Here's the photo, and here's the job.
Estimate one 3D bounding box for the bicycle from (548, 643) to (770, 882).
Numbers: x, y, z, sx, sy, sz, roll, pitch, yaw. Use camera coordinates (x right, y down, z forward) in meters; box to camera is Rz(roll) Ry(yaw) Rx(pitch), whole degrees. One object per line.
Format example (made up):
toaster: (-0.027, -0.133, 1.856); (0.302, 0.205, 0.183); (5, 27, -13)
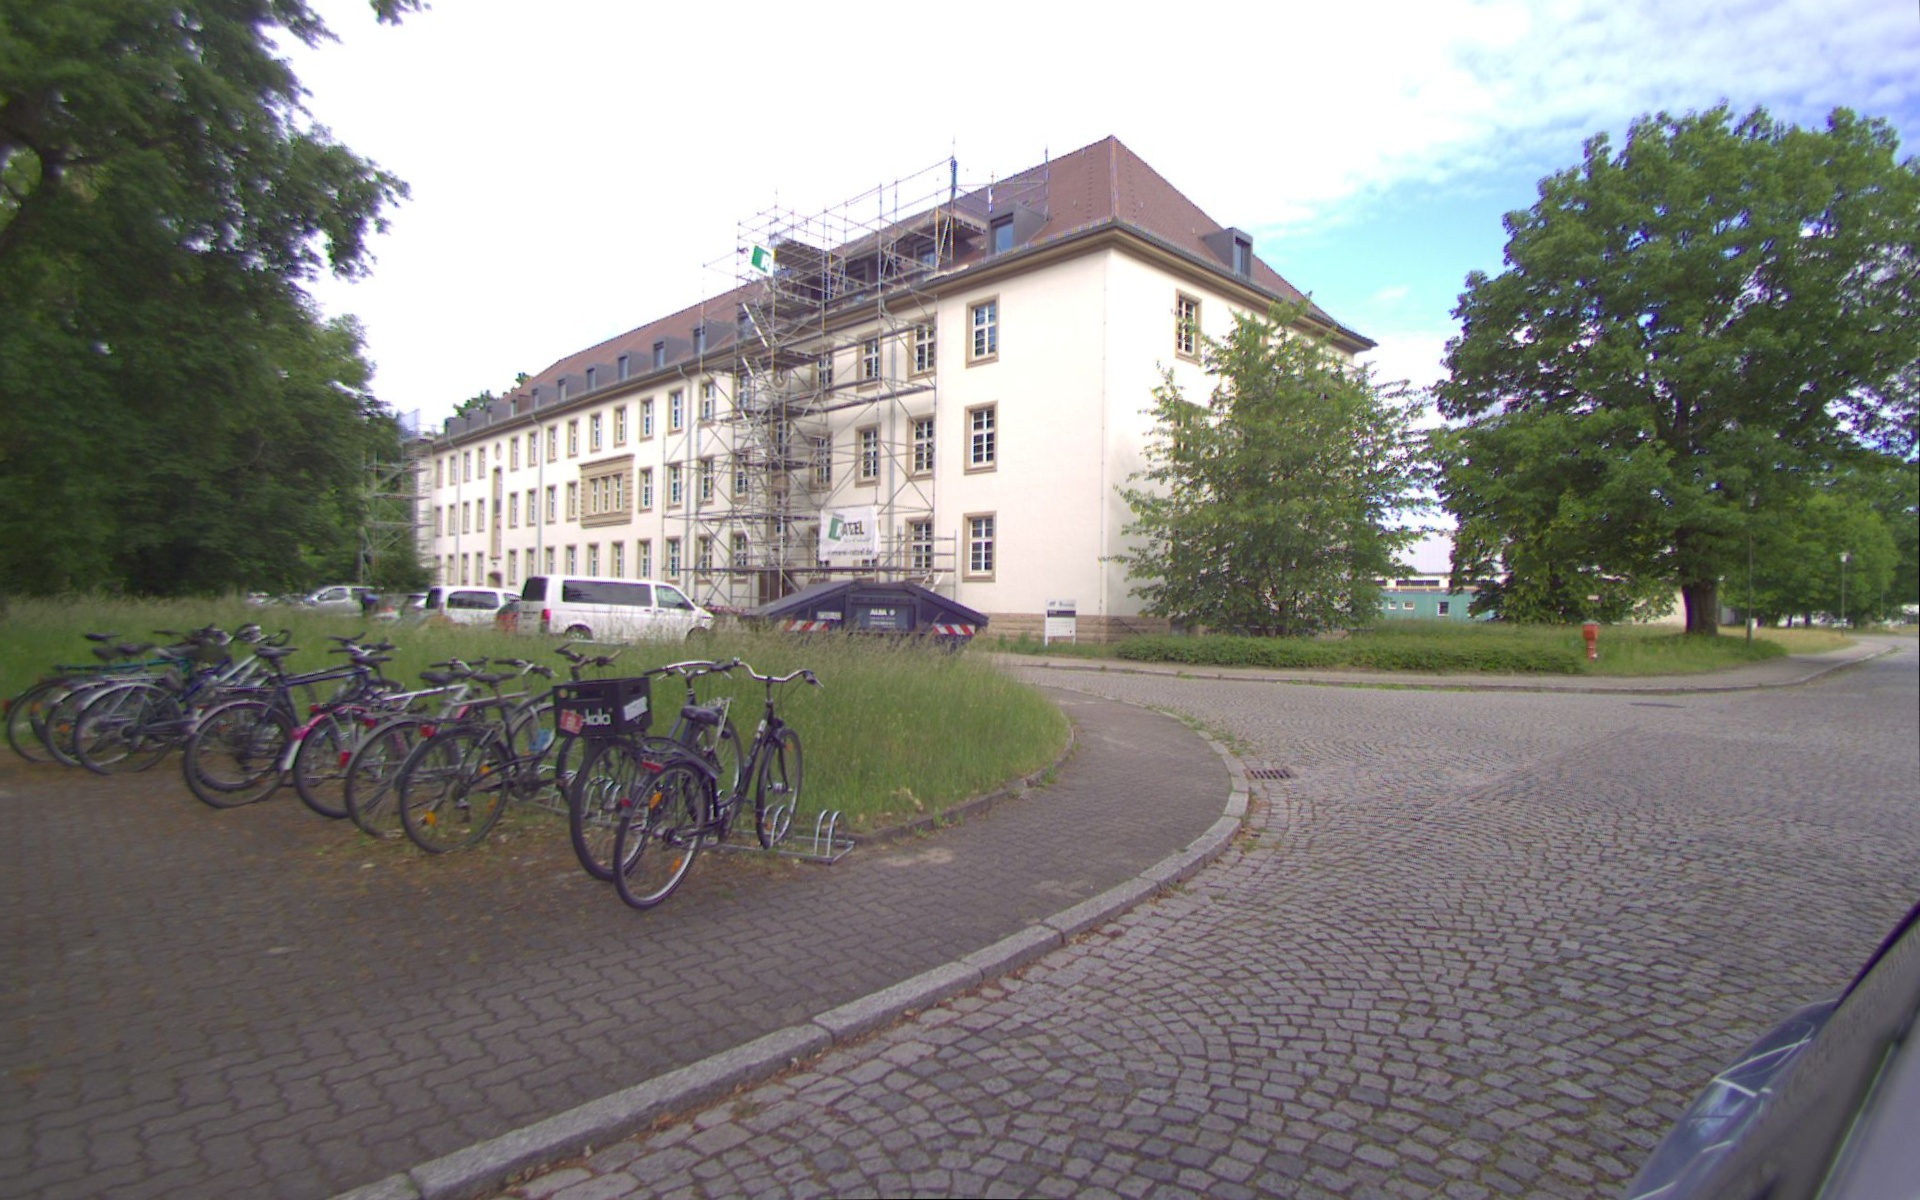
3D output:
bicycle: (-1.661, 0.839, 5.852); (0.471, 1.087, 1.615); (0, 1, 14)

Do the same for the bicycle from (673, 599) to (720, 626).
bicycle: (-11.072, 0.541, 42.580); (1.827, 1.109, 0.510); (1, -1, -38)

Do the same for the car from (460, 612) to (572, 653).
car: (-12.715, 0.894, 29.050); (1.308, 1.098, 2.658); (0, 0, 45)

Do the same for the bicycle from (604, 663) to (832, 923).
bicycle: (-1.190, 0.907, 5.323); (0.471, 1.020, 1.615); (0, 1, 14)

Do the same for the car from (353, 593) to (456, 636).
car: (-21.345, 0.550, 38.944); (1.380, 1.585, 3.196); (0, -1, 45)

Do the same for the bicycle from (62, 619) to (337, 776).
bicycle: (-6.134, 0.732, 8.280); (0.473, 1.126, 1.747); (0, -1, 29)

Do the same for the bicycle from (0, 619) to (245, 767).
bicycle: (-7.094, 0.729, 8.572); (0.439, 1.126, 1.631); (0, -1, 35)

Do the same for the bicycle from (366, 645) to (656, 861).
bicycle: (-2.627, 0.834, 6.117); (0.473, 1.020, 1.651); (0, 1, 29)

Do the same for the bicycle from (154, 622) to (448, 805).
bicycle: (-4.639, 0.737, 7.268); (0.473, 1.126, 1.747); (0, -1, 29)

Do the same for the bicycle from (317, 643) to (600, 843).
bicycle: (-3.126, 0.833, 6.482); (0.473, 1.020, 1.651); (0, 1, 29)

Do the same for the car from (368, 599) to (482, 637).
car: (-18.134, 0.588, 34.371); (1.293, 1.233, 3.196); (0, 0, 45)

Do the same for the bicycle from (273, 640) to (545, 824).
bicycle: (-3.719, 0.832, 6.980); (0.473, 1.020, 1.651); (0, 1, 29)

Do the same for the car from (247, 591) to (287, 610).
car: (-50.064, 0.008, 73.083); (3.940, 1.356, 1.559); (0, 0, 44)

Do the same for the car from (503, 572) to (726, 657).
car: (-8.884, 0.360, 26.384); (1.963, 2.022, 5.190); (0, 0, 45)

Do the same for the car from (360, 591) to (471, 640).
car: (-19.466, 0.528, 36.242); (1.436, 1.682, 3.196); (0, -1, 45)

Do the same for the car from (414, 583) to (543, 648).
car: (-14.704, 0.454, 30.984); (1.599, 1.867, 3.196); (0, -1, 45)

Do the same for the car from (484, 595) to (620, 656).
car: (-11.091, 0.671, 27.639); (1.308, 1.546, 3.196); (0, -1, 45)

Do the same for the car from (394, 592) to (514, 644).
car: (-16.254, 0.566, 32.571); (1.327, 1.585, 3.196); (0, -1, 45)

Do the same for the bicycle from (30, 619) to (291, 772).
bicycle: (-6.568, 0.734, 8.404); (0.439, 1.126, 1.631); (0, -1, 35)

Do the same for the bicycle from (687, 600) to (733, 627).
bicycle: (-10.469, 0.547, 42.409); (1.827, 1.109, 0.510); (1, -1, -38)

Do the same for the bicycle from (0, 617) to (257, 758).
bicycle: (-7.406, 0.726, 9.106); (0.473, 1.126, 1.747); (0, -1, 29)

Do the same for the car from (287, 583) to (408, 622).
car: (-27.680, 0.126, 45.847); (1.464, 1.669, 4.471); (0, -1, 45)

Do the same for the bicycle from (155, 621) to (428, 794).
bicycle: (-4.979, 0.739, 7.683); (0.472, 1.126, 1.751); (0, -1, 23)
